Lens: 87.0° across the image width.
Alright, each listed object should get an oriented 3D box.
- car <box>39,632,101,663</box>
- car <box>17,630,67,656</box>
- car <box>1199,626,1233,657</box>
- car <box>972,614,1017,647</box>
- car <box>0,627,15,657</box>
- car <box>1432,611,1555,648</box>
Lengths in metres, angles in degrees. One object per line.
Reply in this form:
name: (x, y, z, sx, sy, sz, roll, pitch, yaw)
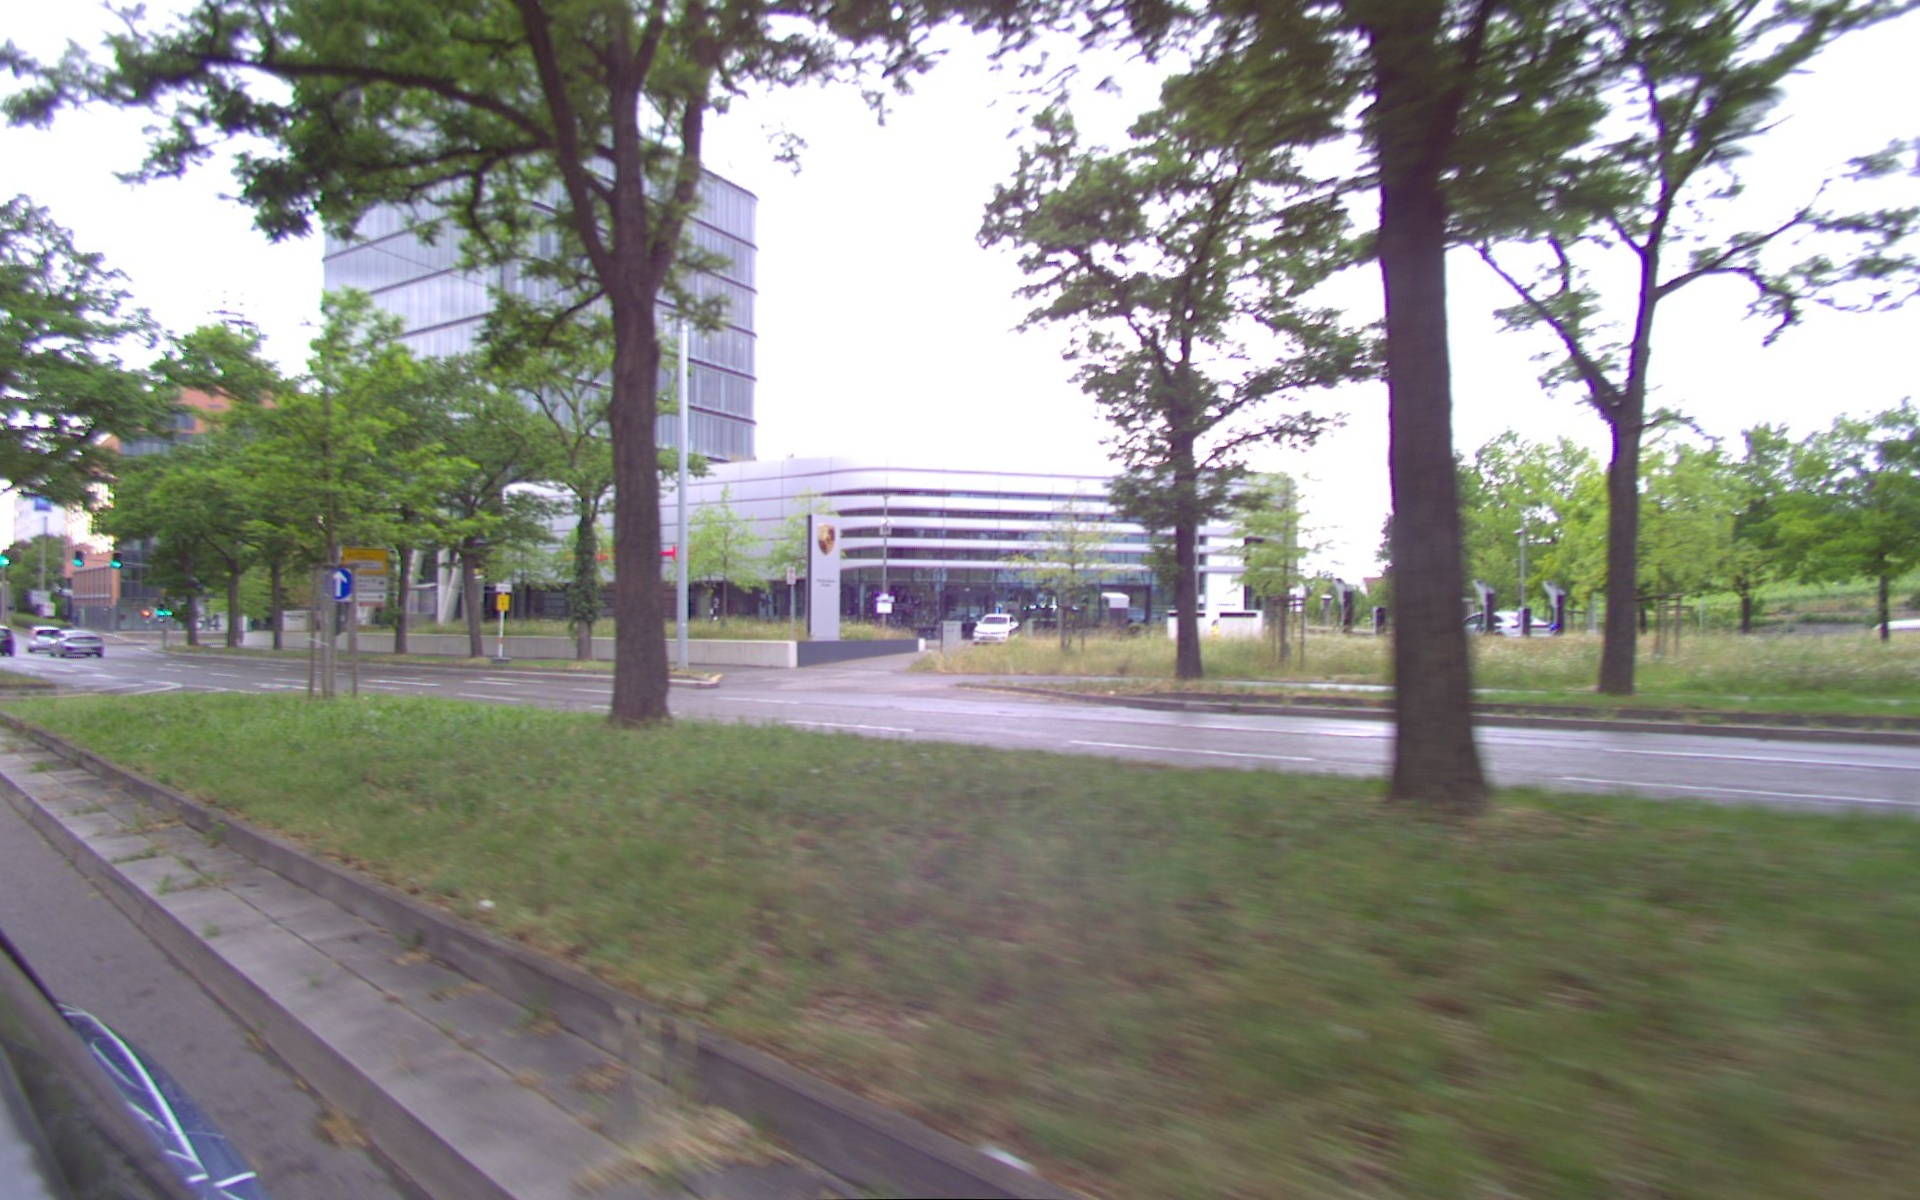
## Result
car: (-47.587, 2.488, 54.095, 3.996, 1.464, 1.870, -1, 1, 40)
car: (-57.120, 2.640, 62.944, 3.996, 1.464, 1.761, -1, 1, 40)
car: (13.247, 2.105, 52.268, 1.606, 1.333, 3.980, -1, 1, 16)
car: (1.745, 1.453, 49.486, 1.758, 1.423, 3.990, -1, 1, 8)
car: (-53.787, 2.304, 55.841, 4.170, 1.602, 1.823, -1, -2, 40)
car: (20.706, 1.127, 39.403, 1.592, 1.254, 4.013, -2, 1, -29)
